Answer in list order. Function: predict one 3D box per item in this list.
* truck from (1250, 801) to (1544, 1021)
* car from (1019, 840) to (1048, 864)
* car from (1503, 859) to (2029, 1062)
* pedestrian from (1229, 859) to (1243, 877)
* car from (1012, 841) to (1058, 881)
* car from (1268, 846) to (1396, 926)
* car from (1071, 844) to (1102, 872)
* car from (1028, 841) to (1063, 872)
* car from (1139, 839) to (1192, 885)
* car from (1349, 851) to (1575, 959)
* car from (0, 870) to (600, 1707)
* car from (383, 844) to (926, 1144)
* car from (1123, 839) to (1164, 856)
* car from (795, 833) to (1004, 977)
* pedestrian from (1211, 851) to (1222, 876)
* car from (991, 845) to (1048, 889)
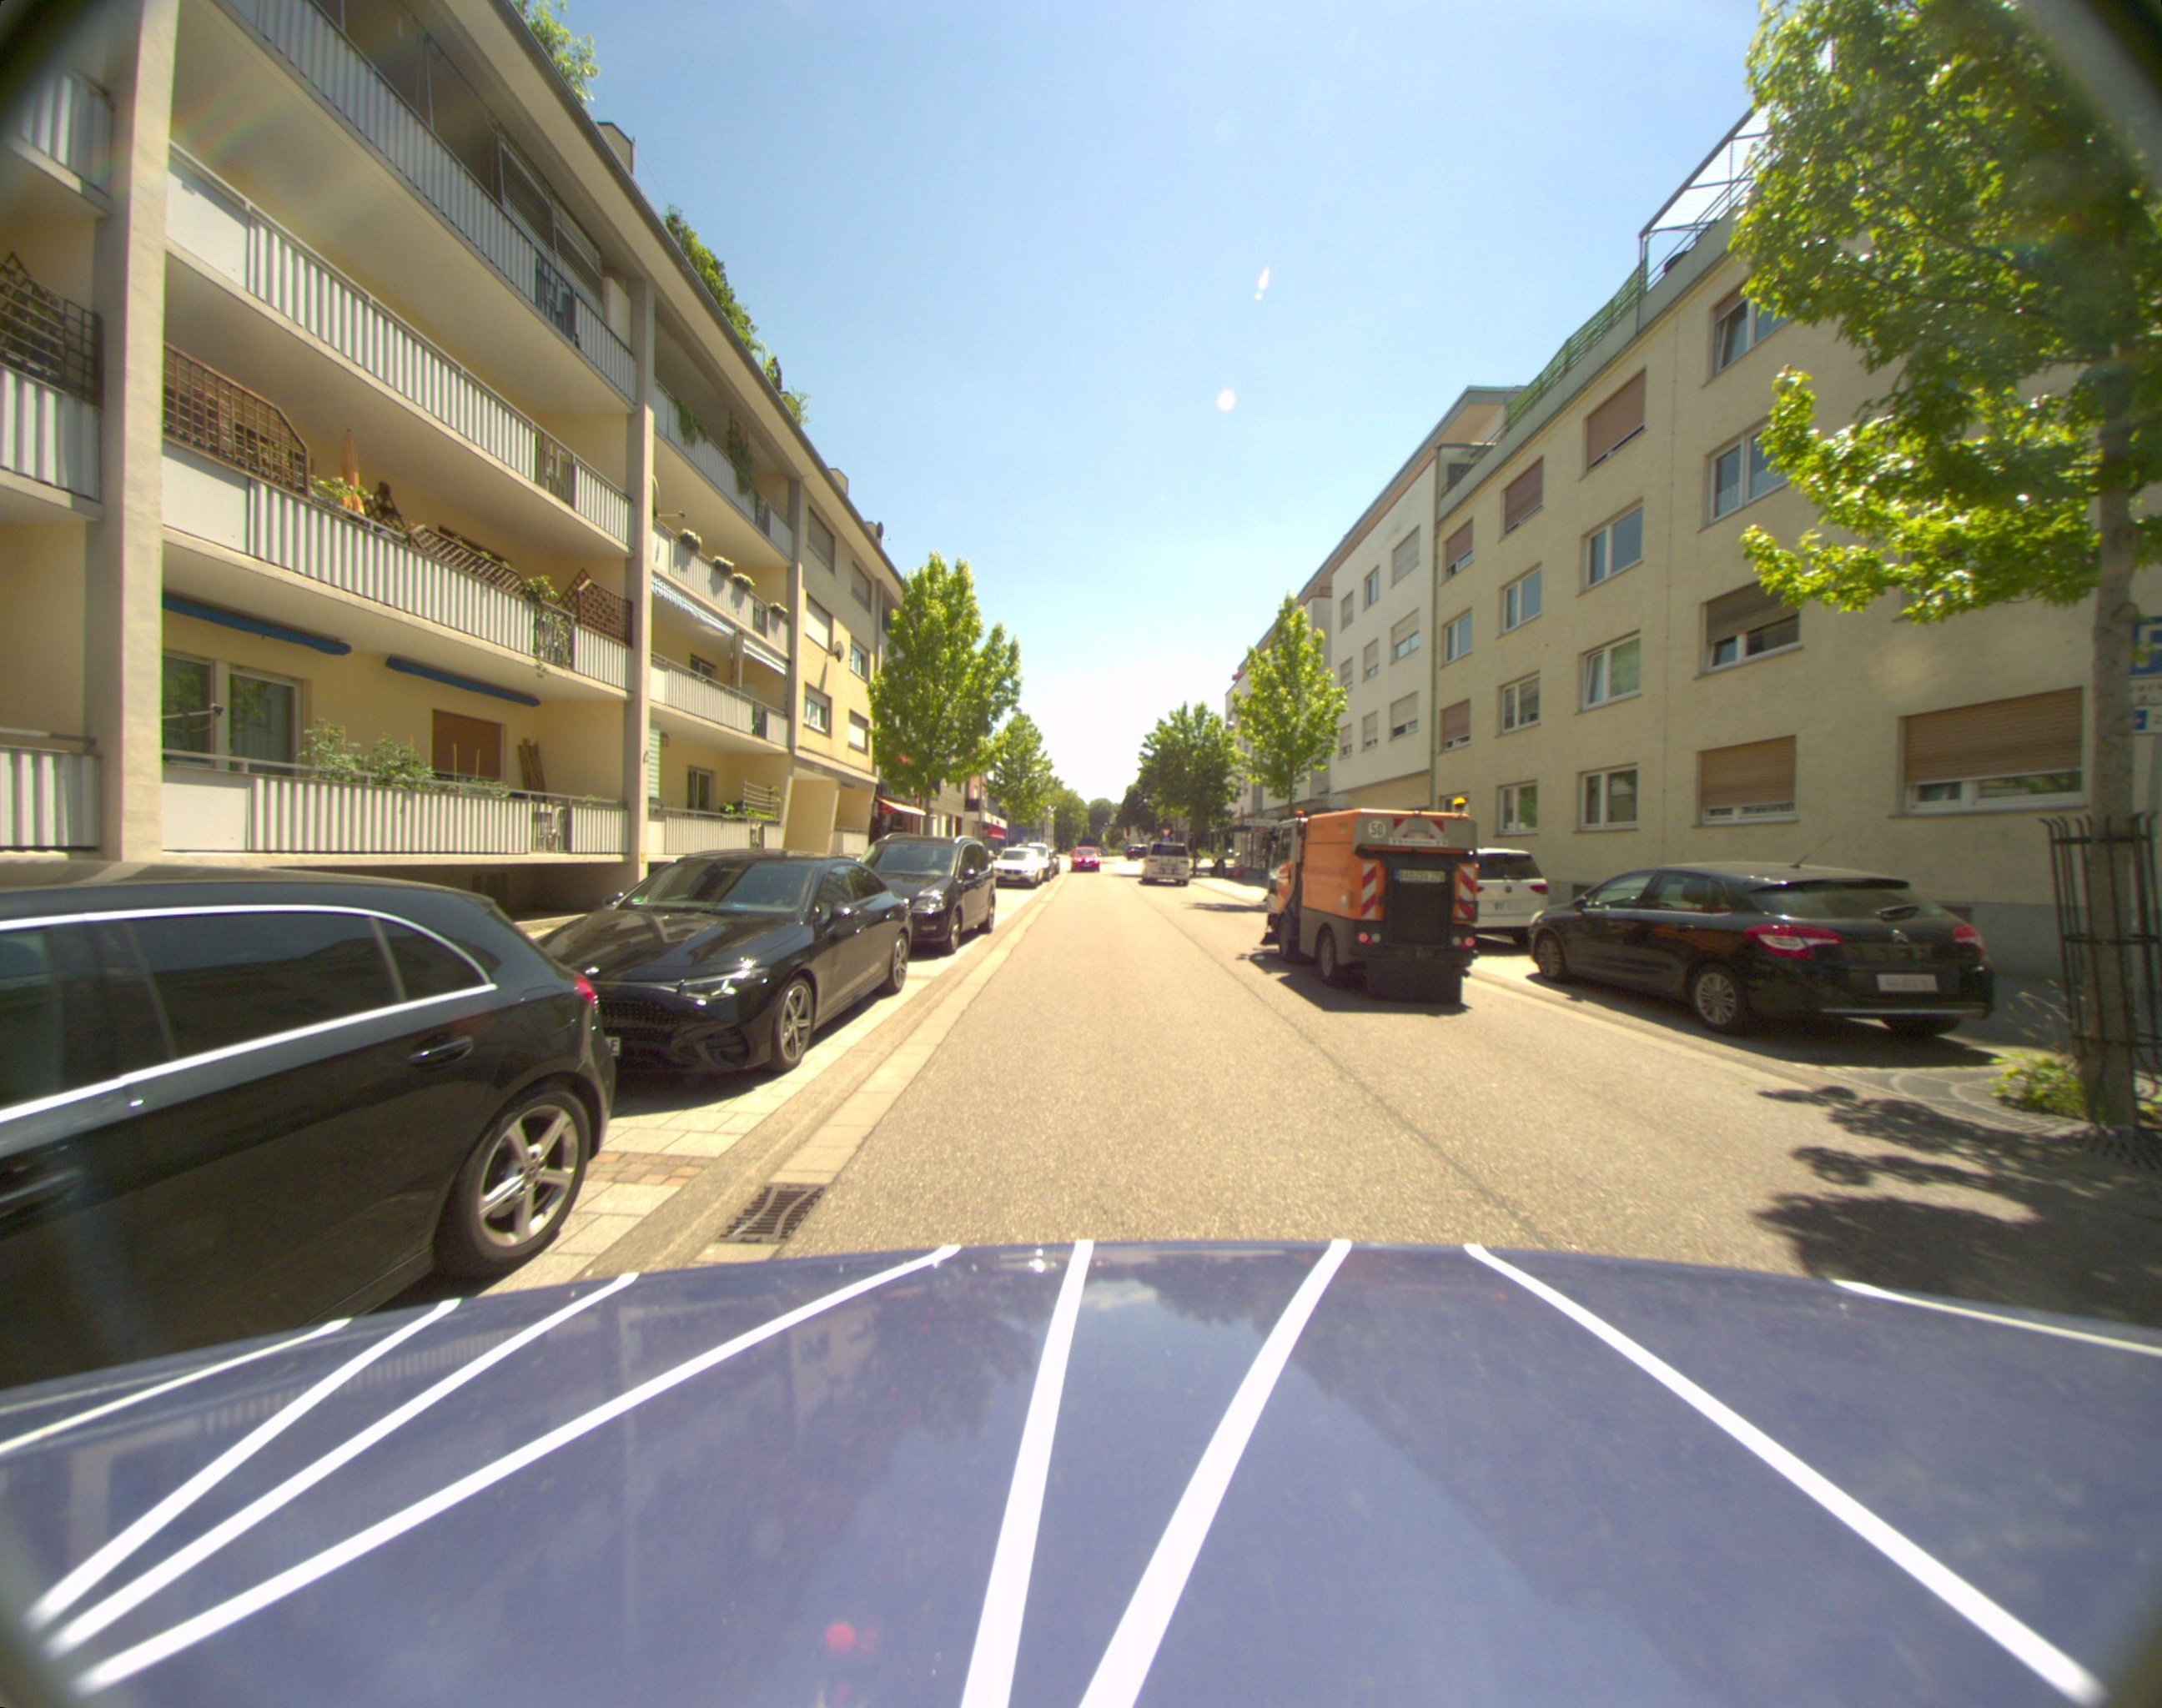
[{"bbox_3d":[3.628,0.558,9.838,1.809,2.105,4.715,2,0,1],"label":"truck"},{"bbox_3d":[-3.715,-0.191,59.042,1.753,1.714,3.906,2,1,-9],"label":"car"},{"bbox_3d":[6.419,0.833,7.970,1.758,1.465,4.321,-1,1,3],"label":"car"},{"bbox_3d":[8.263,0.749,40.460,0.666,0.854,0.733,2,5,10],"label":"pedestrian"},{"bbox_3d":[-2.136,0.281,36.365,1.768,1.696,4.705,2,1,1],"label":"car"},{"bbox_3d":[6.207,0.705,19.349,1.733,1.730,4.391,-2,1,-1],"label":"car"},{"bbox_3d":[0.340,0.205,47.182,1.833,1.524,3.999,-2,1,0],"label":"car"},{"bbox_3d":[-1.900,0.107,41.264,1.626,1.550,3.840,1,1,1],"label":"car"},{"bbox_3d":[3.819,0.296,35.046,1.911,1.911,4.905,2,1,1],"label":"car"},{"bbox_3d":[6.557,0.767,13.714,1.829,1.610,4.392,-1,0,-1],"label":"car"},{"bbox_3d":[-2.857,0.839,0.905,1.849,1.406,4.162,2,1,1],"label":"car"},{"bbox_3d":[-2.778,0.725,6.378,1.899,1.521,4.568,2,1,1],"label":"car"},{"bbox_3d":[6.682,-0.671,81.054,4.001,1.555,1.803,2,-1,-9],"label":"car"},{"bbox_3d":[-2.591,0.594,12.116,1.998,1.789,4.568,2,2,3],"label":"car"},{"bbox_3d":[7.356,0.511,41.259,0.568,1.364,0.667,2,2,10],"label":"pedestrian"},{"bbox_3d":[-2.408,0.471,30.615,1.726,1.574,4.225,2,1,2],"label":"car"}]
